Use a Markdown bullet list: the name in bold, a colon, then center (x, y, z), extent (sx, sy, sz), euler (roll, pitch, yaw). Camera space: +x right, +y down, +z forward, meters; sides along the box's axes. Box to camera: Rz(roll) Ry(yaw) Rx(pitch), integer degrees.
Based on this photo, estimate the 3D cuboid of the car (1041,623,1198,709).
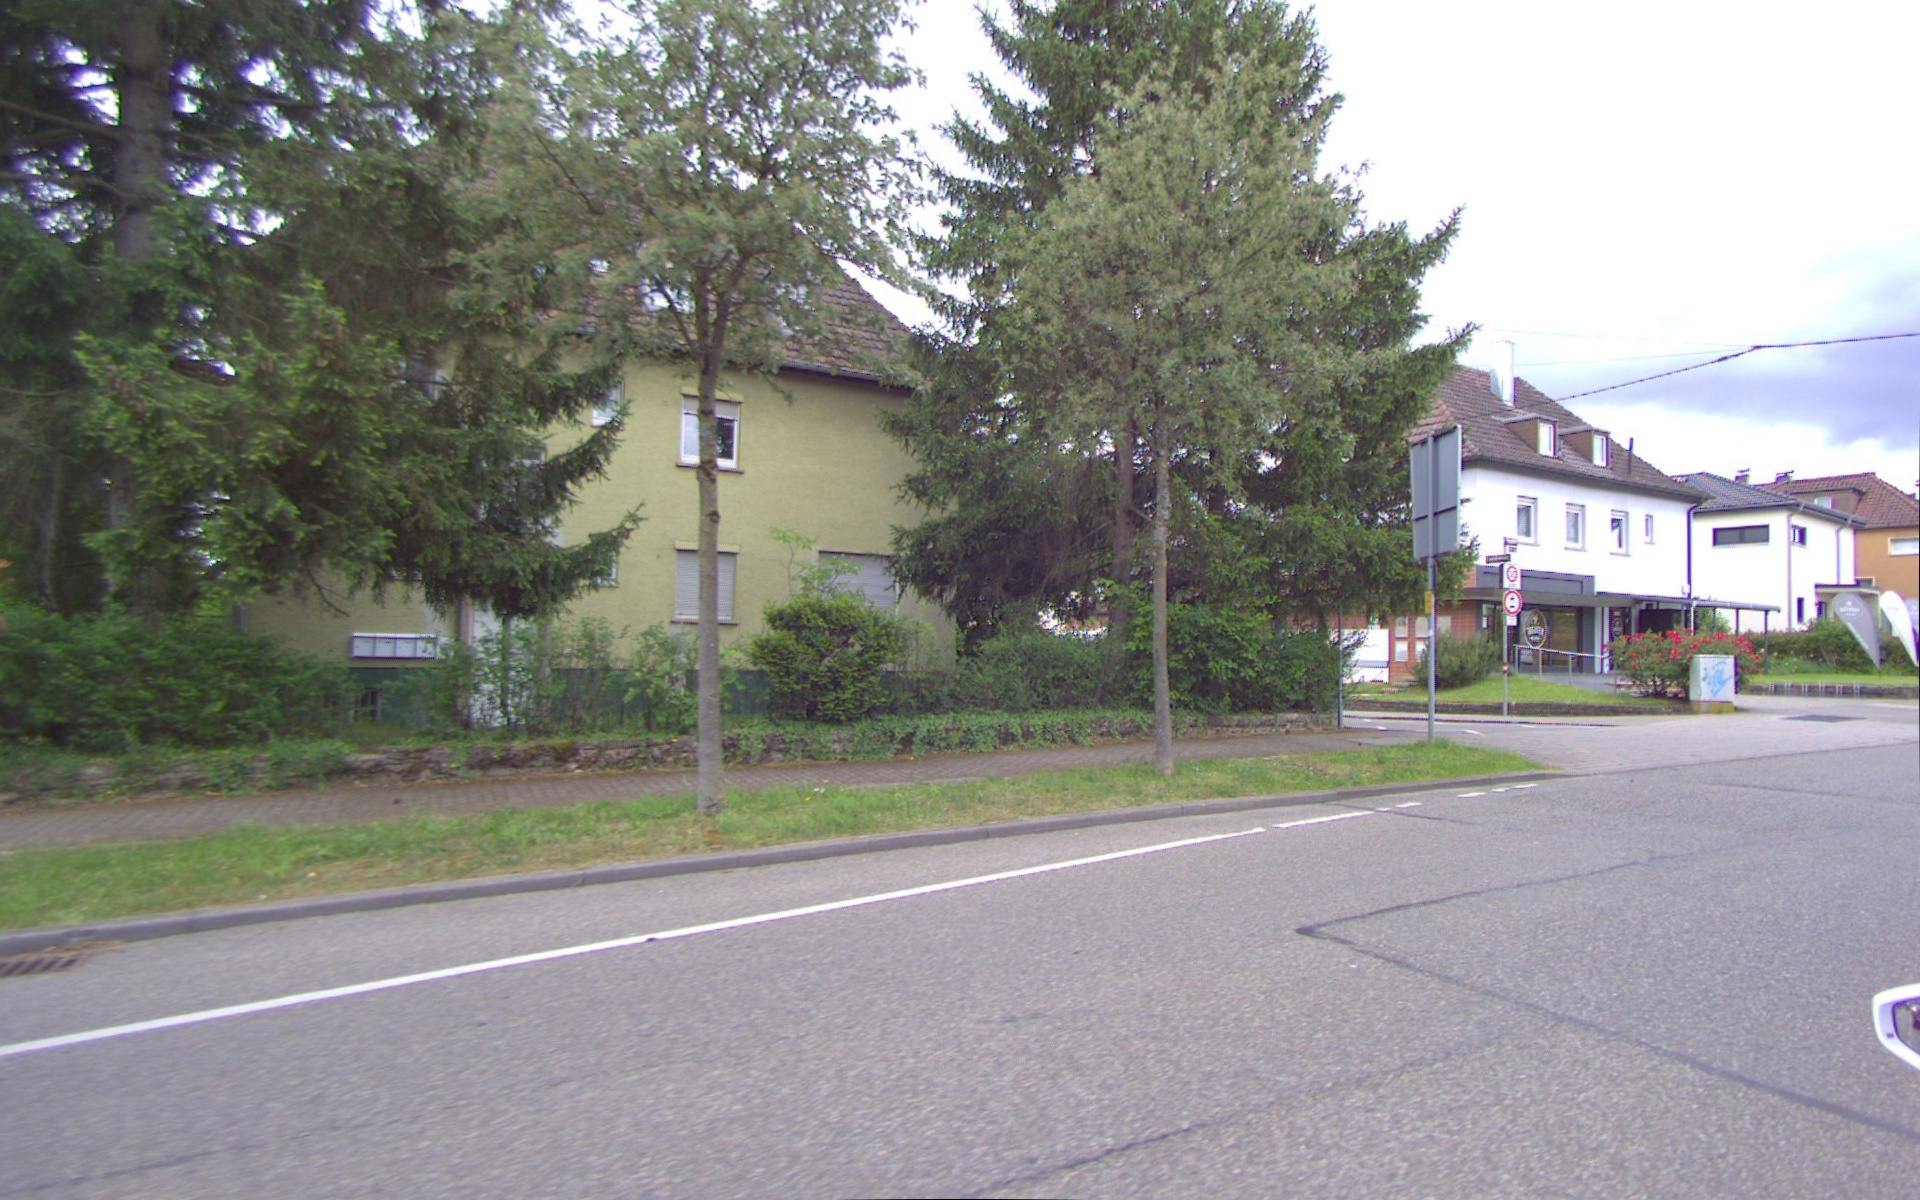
- **car**: center (5.170, 2.229, 33.479), extent (2.106, 2.596, 5.578), euler (3, -5, -31)
